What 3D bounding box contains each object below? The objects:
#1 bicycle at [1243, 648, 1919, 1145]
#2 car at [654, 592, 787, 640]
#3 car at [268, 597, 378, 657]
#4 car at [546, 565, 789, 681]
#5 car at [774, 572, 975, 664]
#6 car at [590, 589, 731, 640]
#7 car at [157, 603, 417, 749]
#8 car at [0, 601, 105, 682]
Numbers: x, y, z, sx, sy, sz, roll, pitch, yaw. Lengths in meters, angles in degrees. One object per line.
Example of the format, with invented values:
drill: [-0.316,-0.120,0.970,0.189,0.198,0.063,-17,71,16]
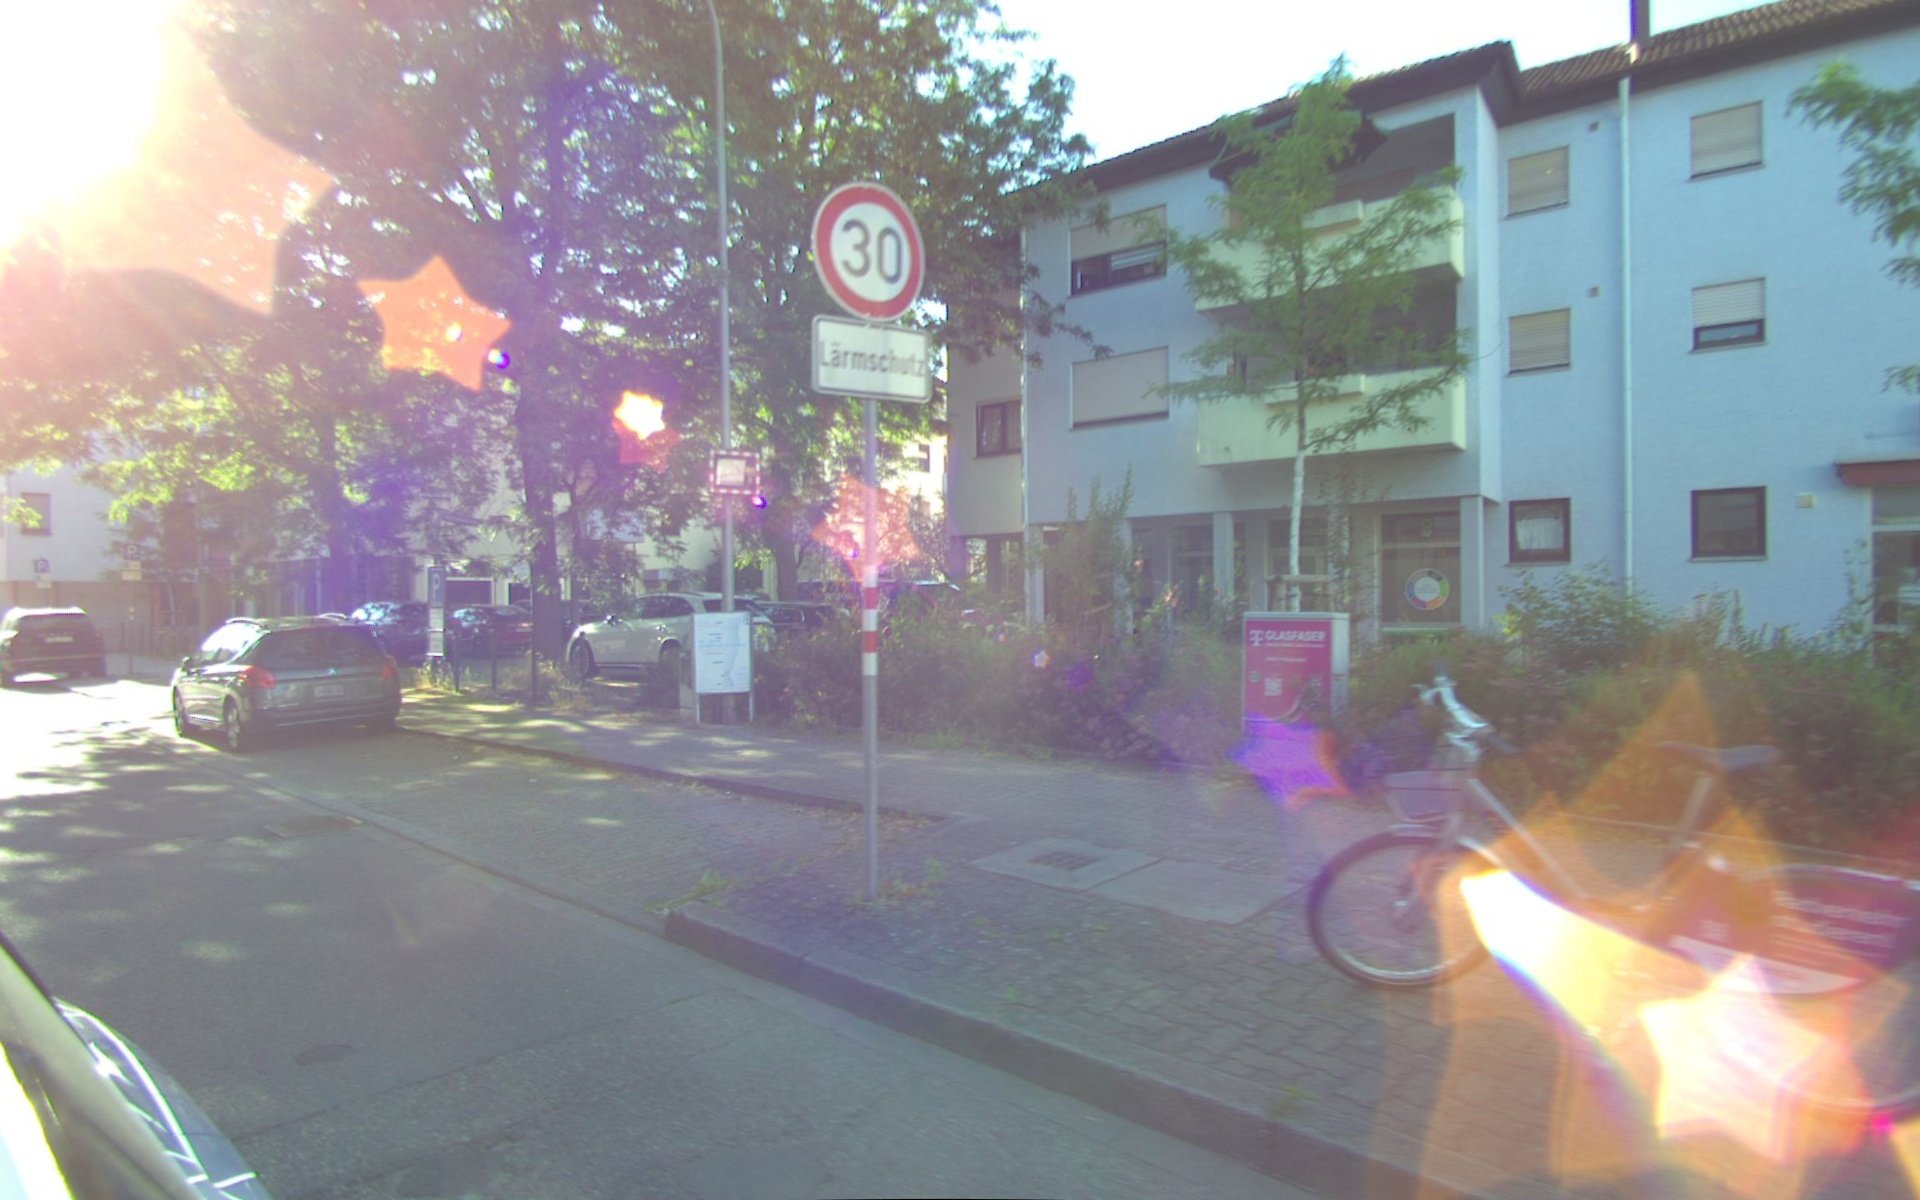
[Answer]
bicycle: [1.878,0.685,2.925,0.695,1.010,1.942,-2,1,-44]
car: [-8.547,0.573,35.868,5.183,1.572,1.918,-1,0,41]
car: [-16.396,0.663,25.984,3.639,1.419,1.504,-1,0,43]
car: [-5.561,0.419,18.899,4.900,1.909,1.825,-2,0,38]
car: [-2.020,0.415,23.648,4.307,1.963,2.004,-1,0,30]
car: [-9.840,0.460,33.113,4.825,1.486,1.975,-1,2,38]
car: [-8.495,0.836,12.648,3.998,1.503,1.679,-1,0,41]
car: [-22.897,0.971,24.953,5.097,1.717,1.912,-1,2,41]
